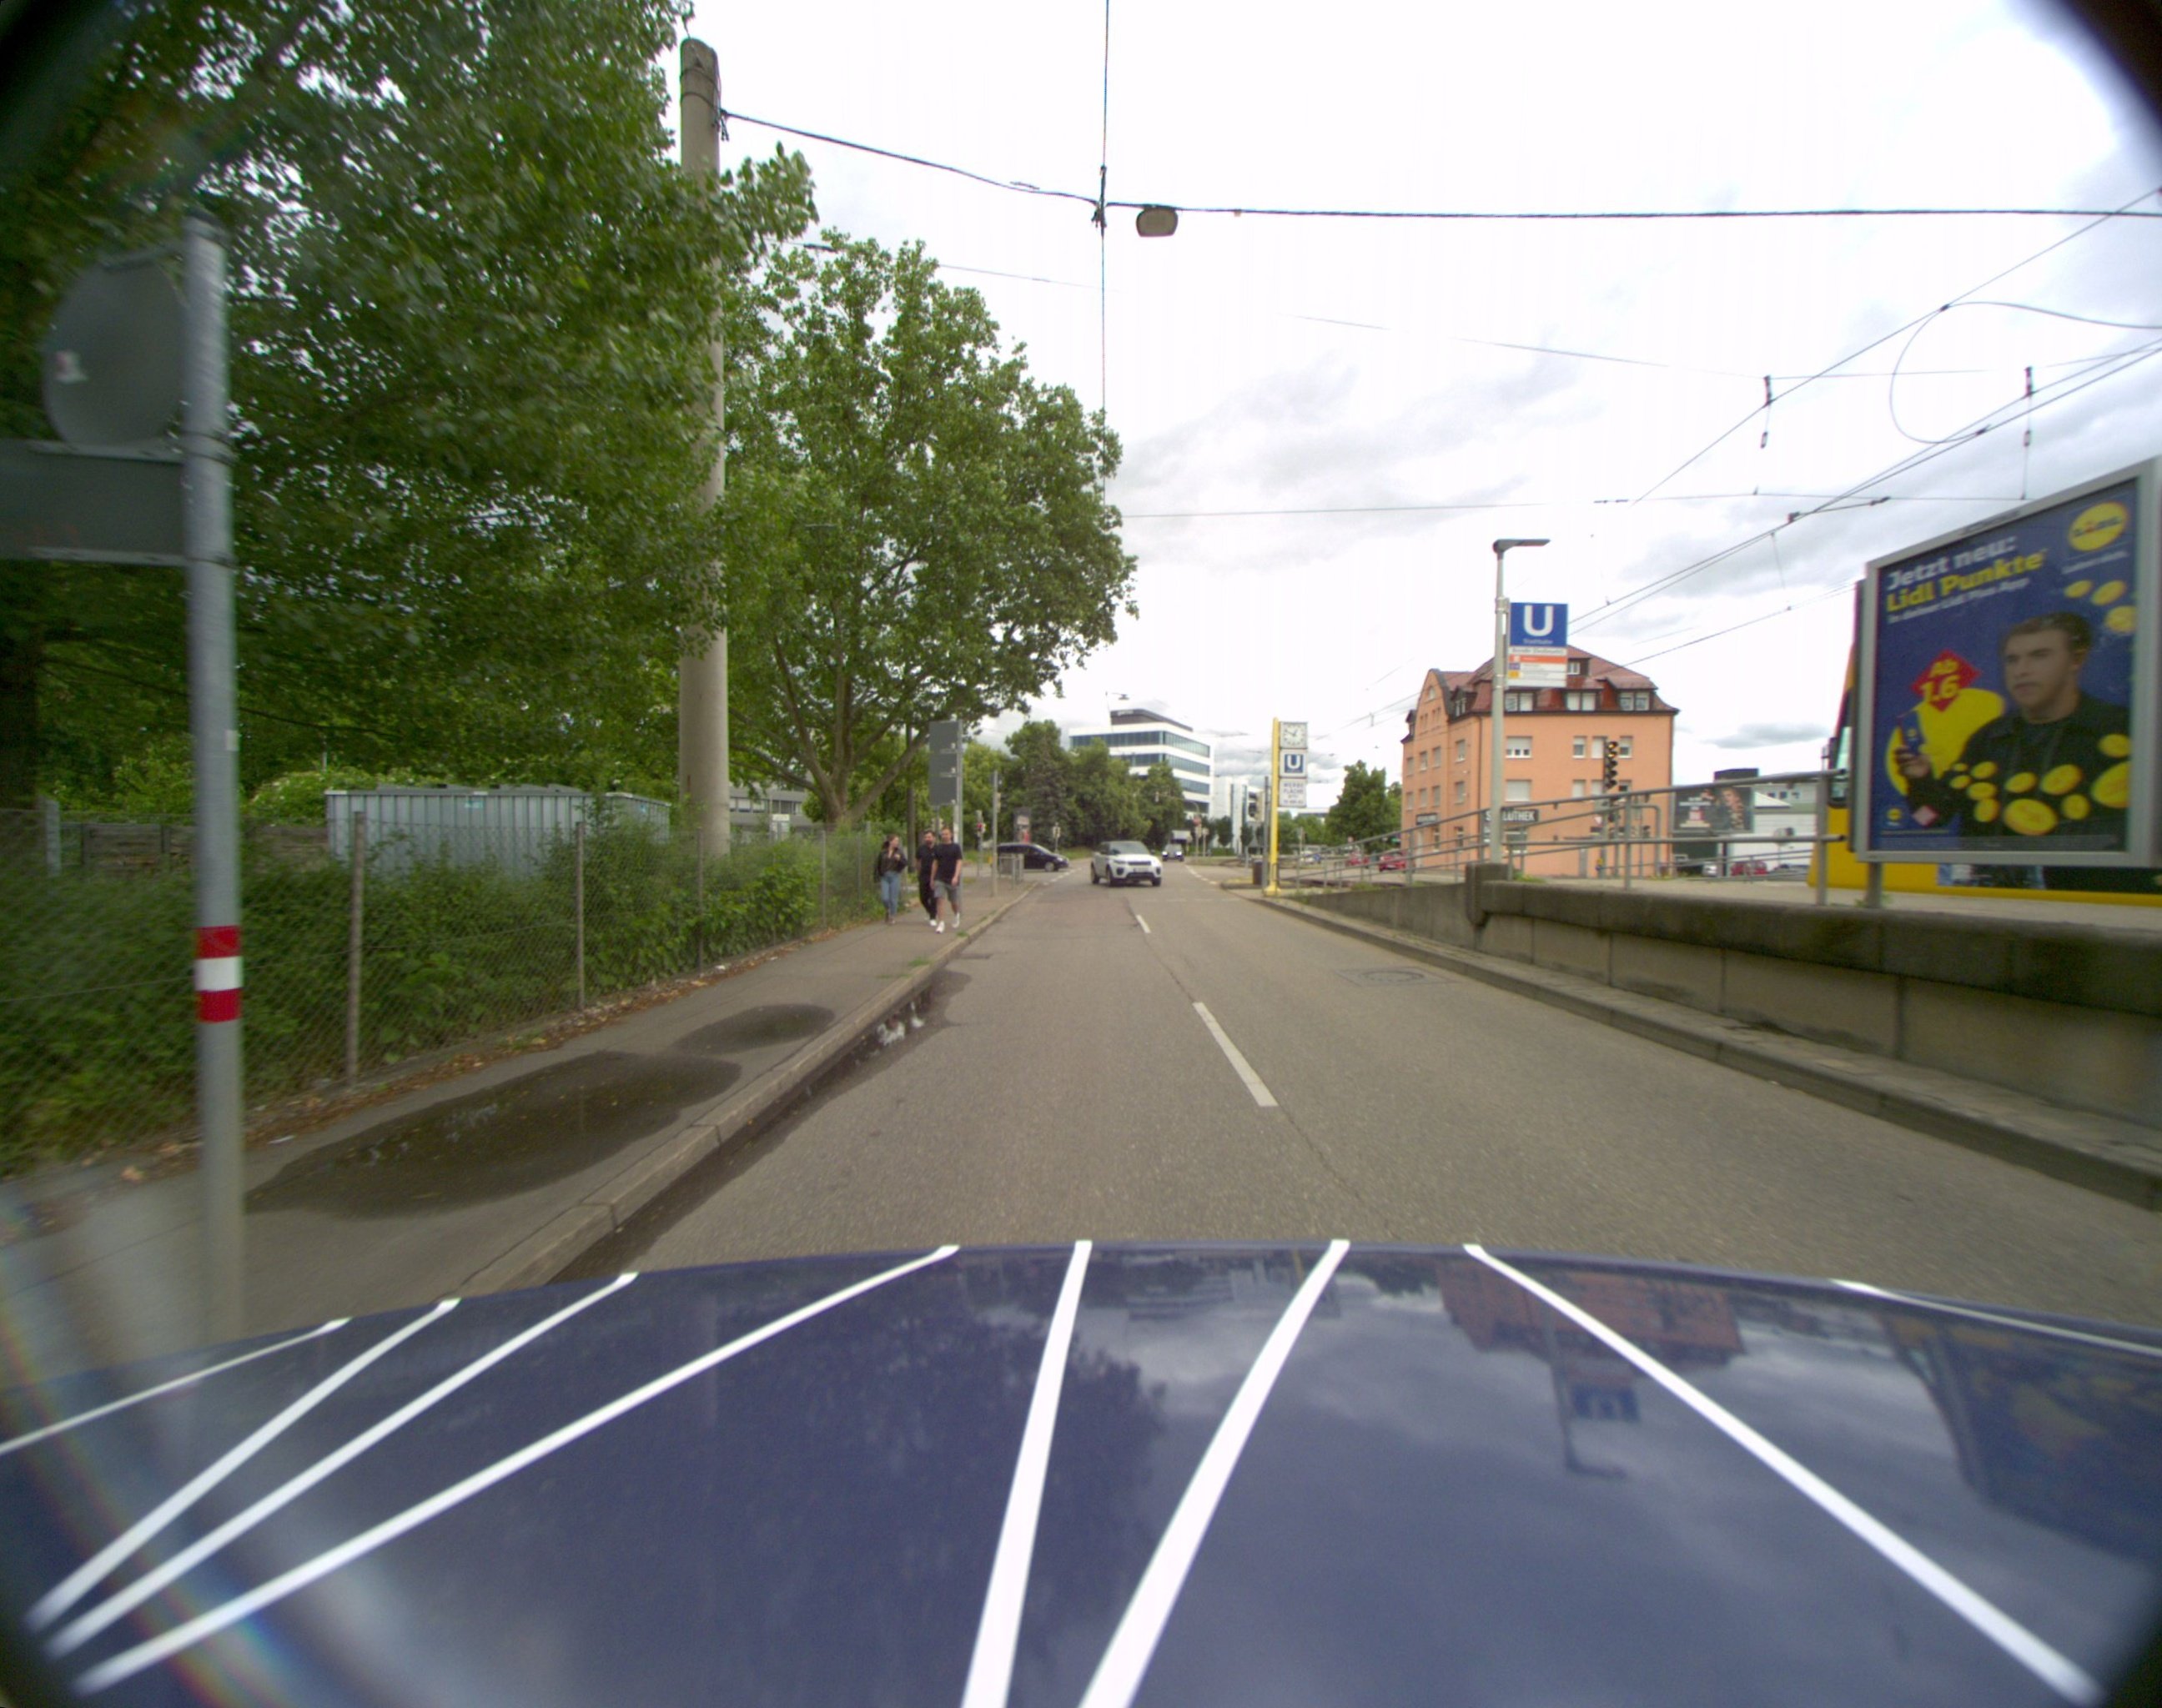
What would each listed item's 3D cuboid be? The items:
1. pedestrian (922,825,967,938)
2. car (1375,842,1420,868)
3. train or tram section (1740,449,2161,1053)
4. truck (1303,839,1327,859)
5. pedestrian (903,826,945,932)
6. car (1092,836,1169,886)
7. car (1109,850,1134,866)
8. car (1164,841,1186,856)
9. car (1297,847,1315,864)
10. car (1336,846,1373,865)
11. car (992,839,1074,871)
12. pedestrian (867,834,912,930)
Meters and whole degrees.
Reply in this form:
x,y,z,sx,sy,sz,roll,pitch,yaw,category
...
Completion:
x,y,z,sx,sy,sz,roll,pitch,yaw,category
-2.306,0.448,12.914,0.604,1.858,0.671,1,5,1,pedestrian
20.227,0.038,48.513,1.762,1.521,3.747,3,3,36,car
8.411,-0.666,2.148,2.747,3.943,11.911,0,0,0,train or tram section
30.117,-0.612,97.872,2.315,2.408,5.663,3,2,23,truck
-2.834,0.430,13.723,0.604,1.857,0.671,1,2,1,pedestrian
1.742,0.196,28.053,1.917,1.561,4.108,-3,3,-9,car
3.786,0.329,70.782,1.746,1.384,3.706,0,1,11,car
8.829,-0.514,71.238,1.625,1.324,3.178,0,1,16,car
25.958,0.150,87.646,1.596,1.410,3.381,-6,-8,11,car
25.412,0.128,70.790,1.702,1.517,3.995,-1,4,-5,car
-2.693,0.081,42.716,4.221,1.761,1.836,0,-1,16,car
-3.456,0.492,13.768,0.604,1.681,0.671,1,5,1,pedestrian
